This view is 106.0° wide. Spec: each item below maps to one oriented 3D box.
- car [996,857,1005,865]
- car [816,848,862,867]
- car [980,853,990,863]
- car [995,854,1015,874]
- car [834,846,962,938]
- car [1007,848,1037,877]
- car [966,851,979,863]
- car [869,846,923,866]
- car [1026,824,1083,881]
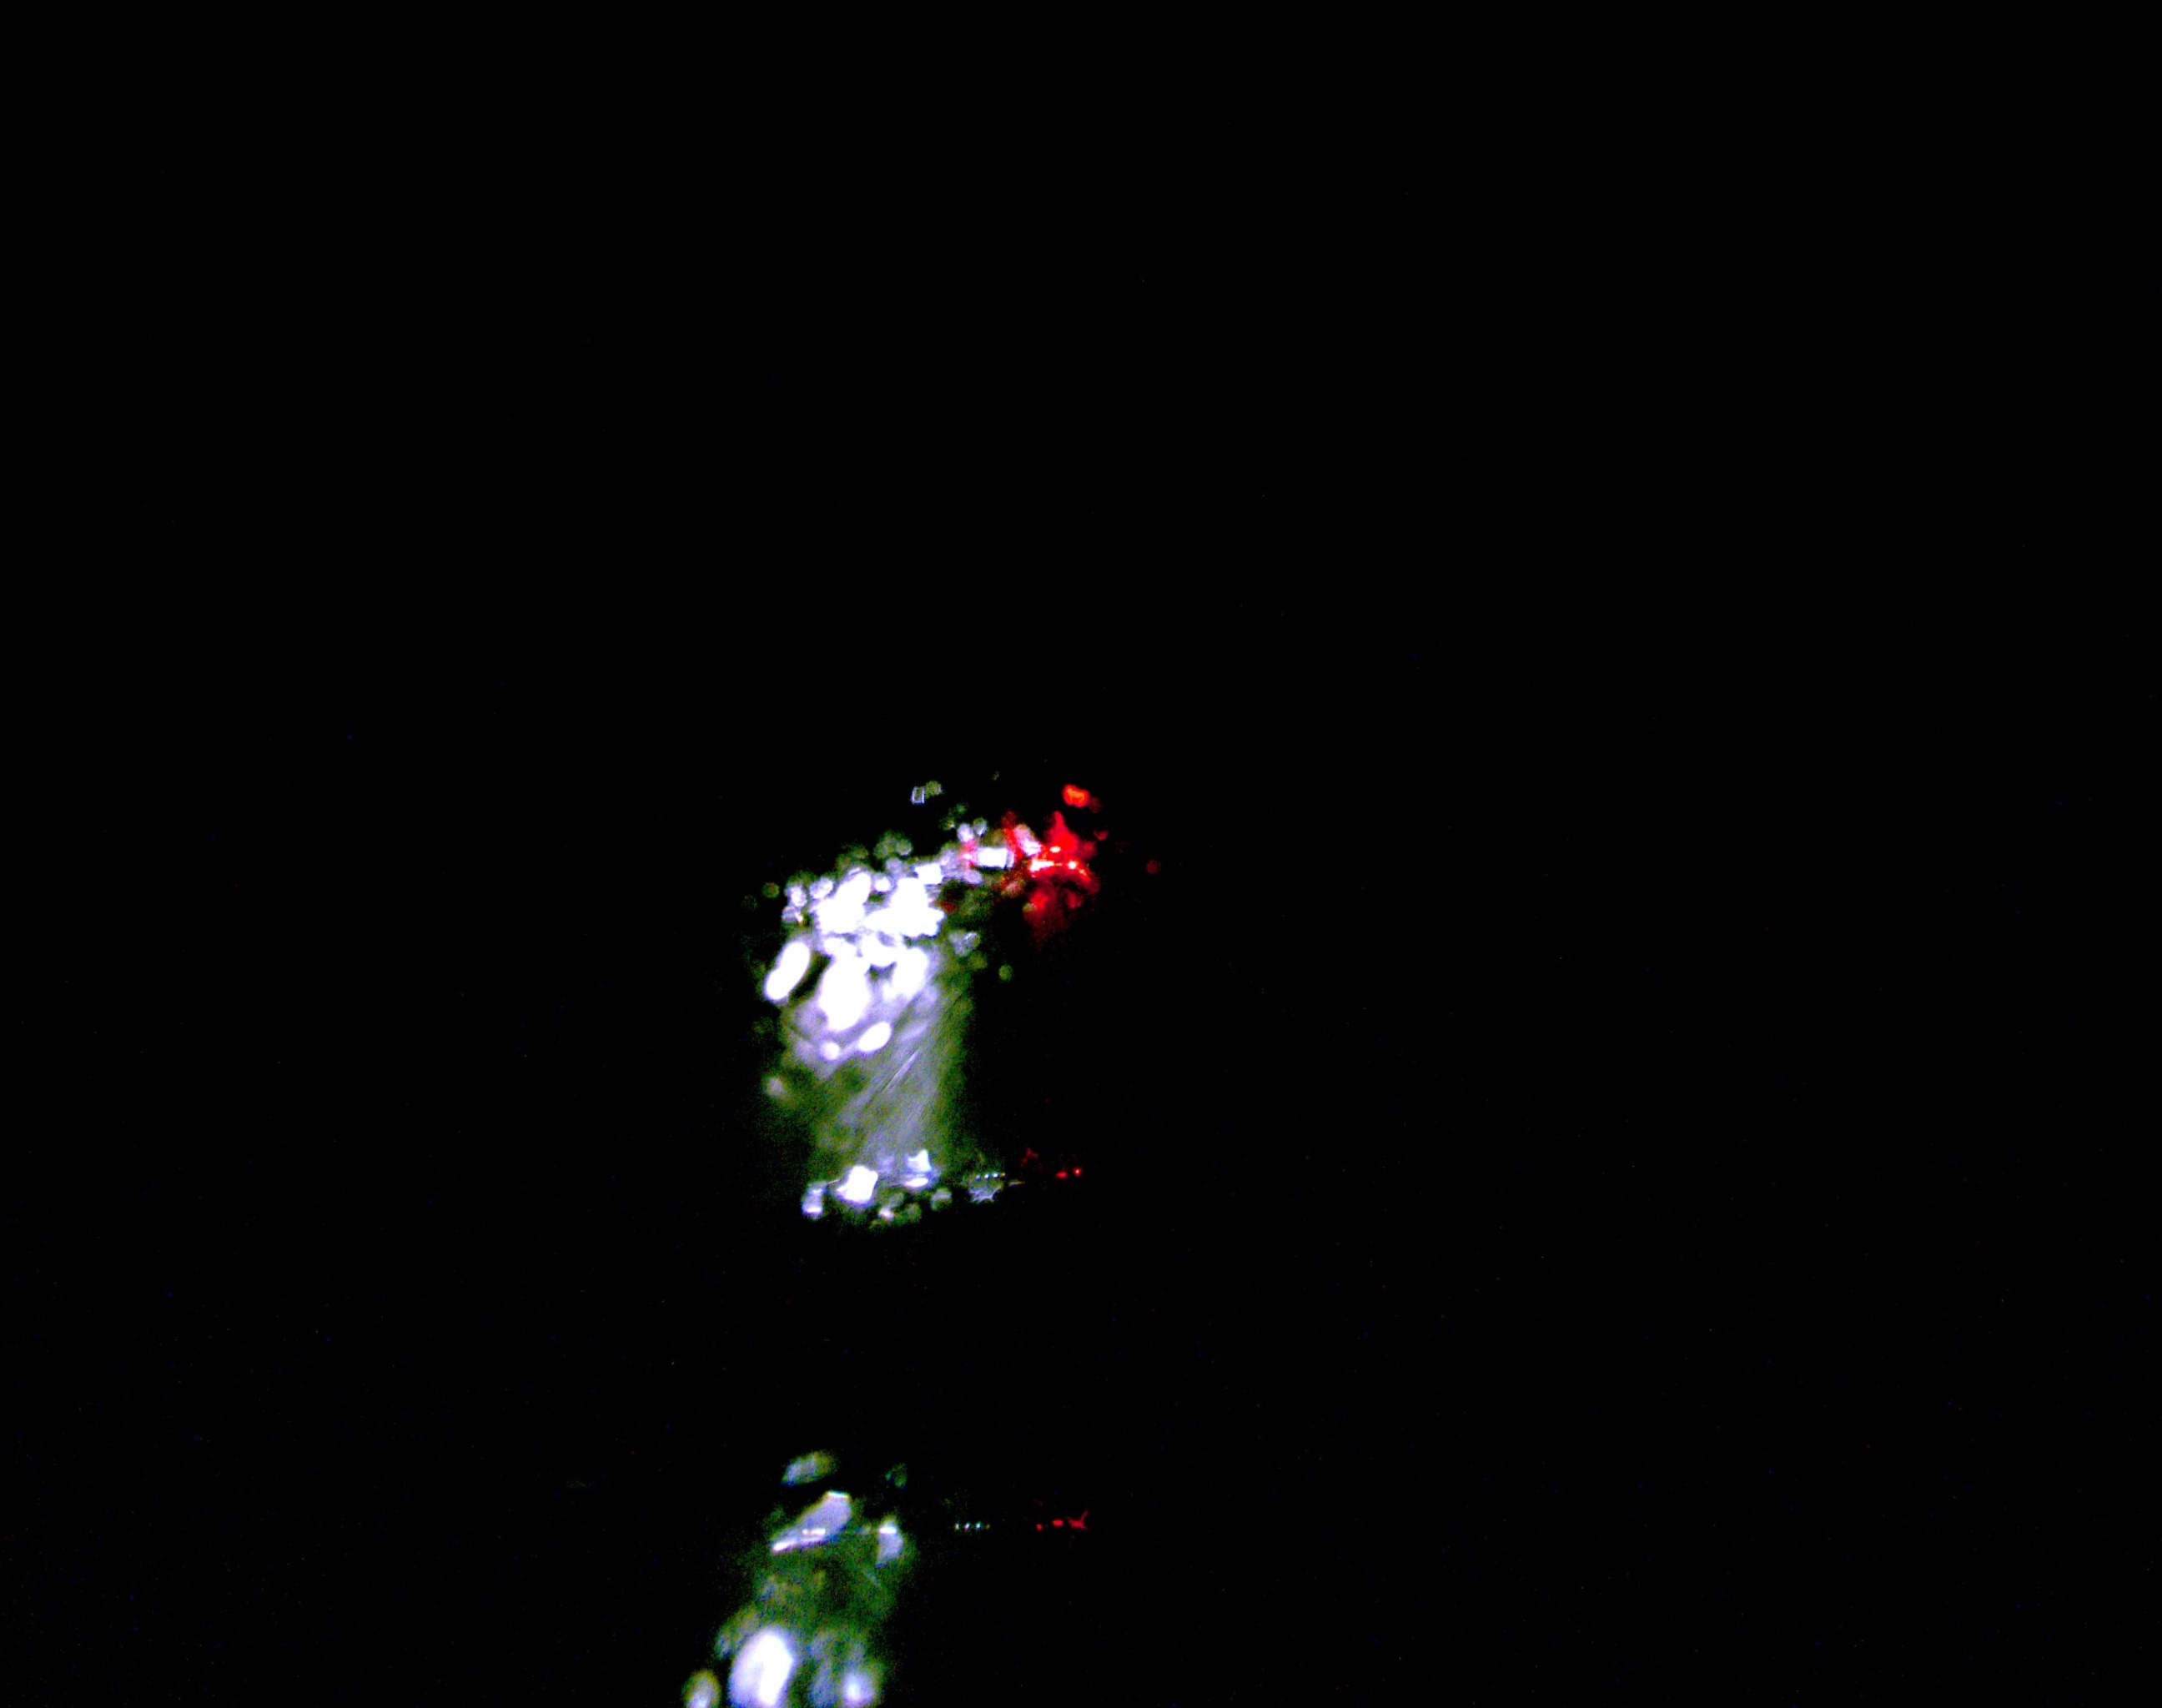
[{"bbox_3d":[-17.409,1.461,175.896,1.753,1.734,3.769,2,0,-9],"label":"car"},{"bbox_3d":[-23.742,0.354,79.894,4.164,1.687,1.682,-2,-2,-20],"label":"car"},{"bbox_3d":[-17.925,0.730,151.670,1.753,1.734,3.439,2,0,-9],"label":"car"},{"bbox_3d":[-7.249,0.976,77.712,1.738,1.714,3.690,2,-3,-7],"label":"car"},{"bbox_3d":[-3.425,0.687,15.926,1.631,1.510,4.092,-2,-1,-2],"label":"car"},{"bbox_3d":[-4.588,0.672,62.910,1.993,2.014,3.986,2,-4,-9],"label":"car"},{"bbox_3d":[-16.086,0.421,120.978,1.753,1.734,3.987,2,0,-9],"label":"car"},{"bbox_3d":[-17.500,0.180,77.292,4.913,1.735,1.993,-1,-1,-11],"label":"car"},{"bbox_3d":[-1.372,-0.058,39.798,2.533,2.498,5.707,-1,0,-4],"label":"car"}]
